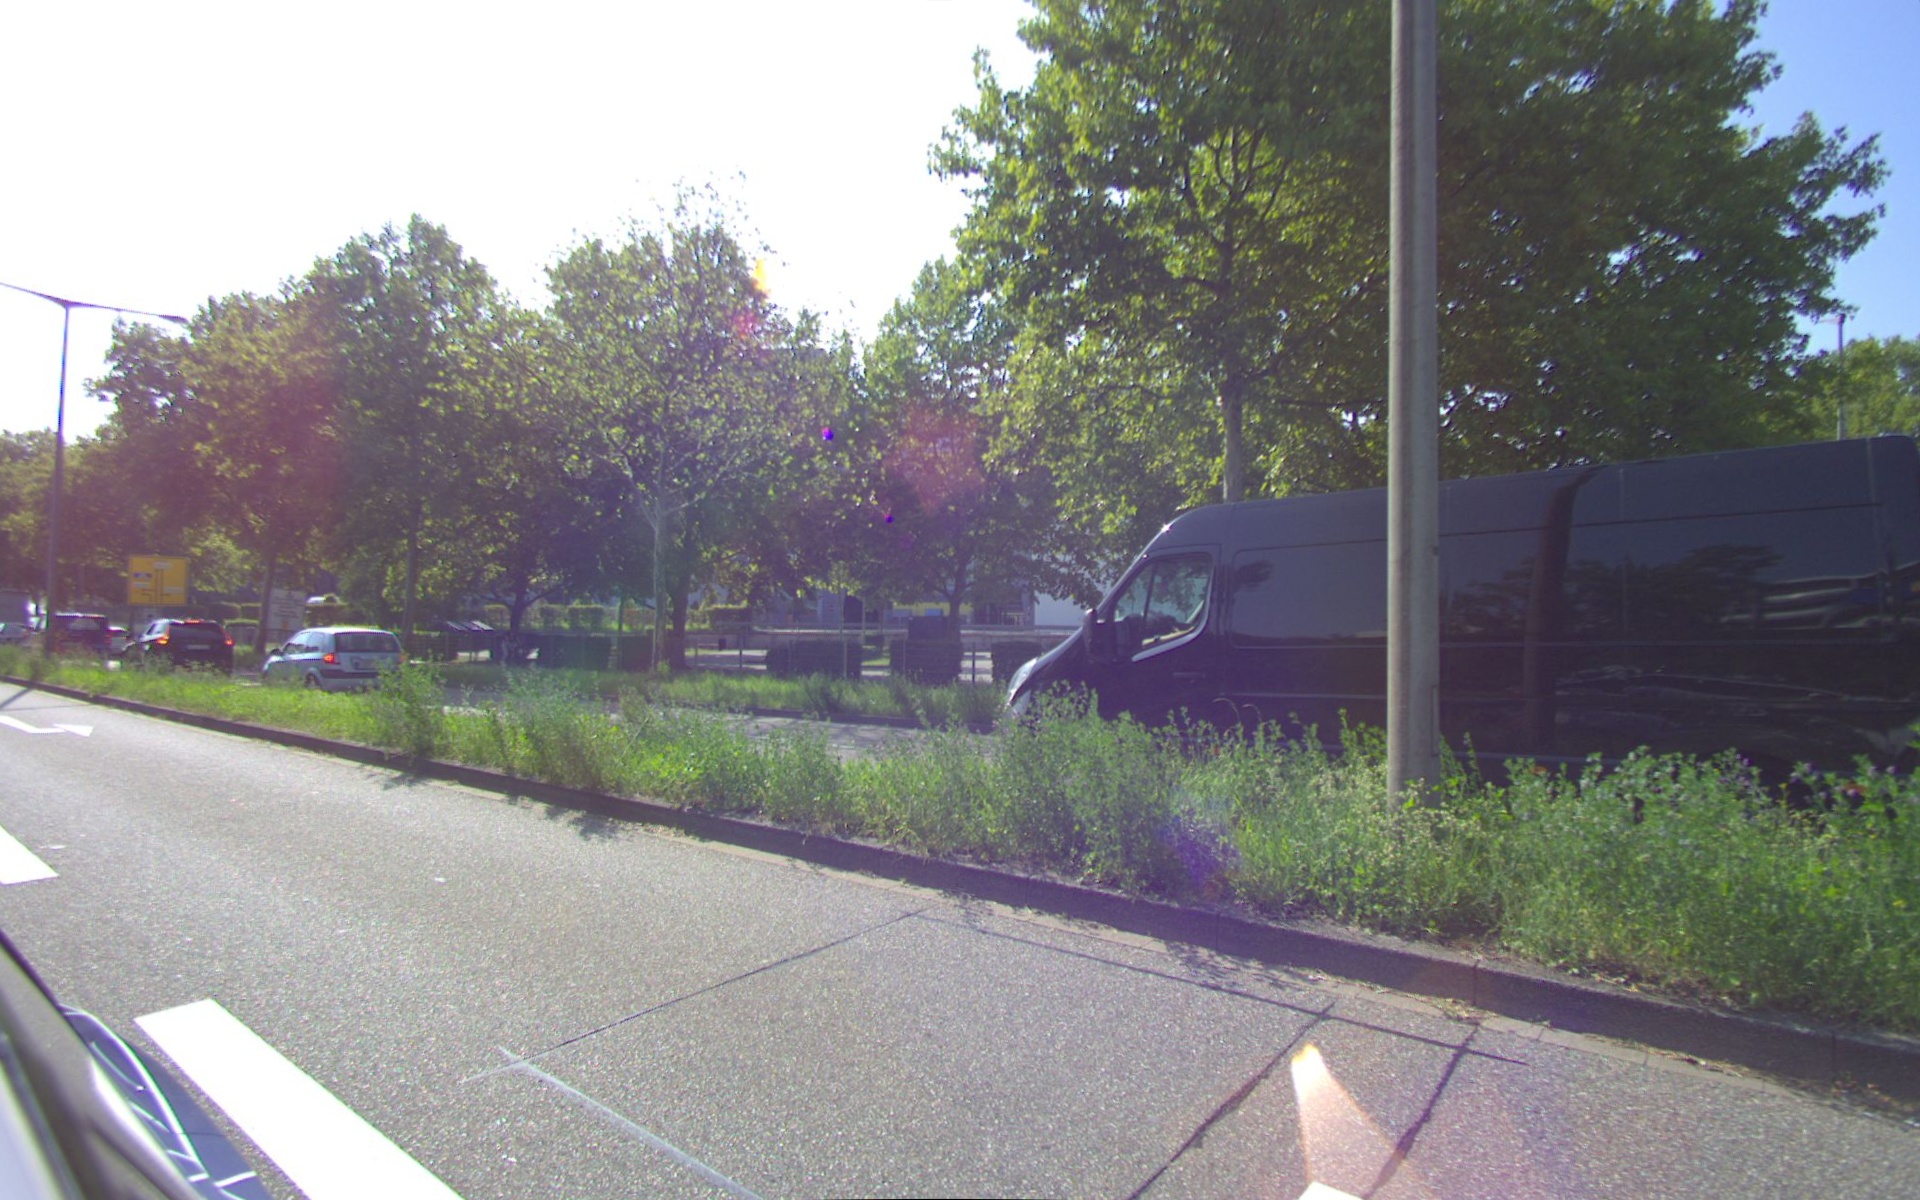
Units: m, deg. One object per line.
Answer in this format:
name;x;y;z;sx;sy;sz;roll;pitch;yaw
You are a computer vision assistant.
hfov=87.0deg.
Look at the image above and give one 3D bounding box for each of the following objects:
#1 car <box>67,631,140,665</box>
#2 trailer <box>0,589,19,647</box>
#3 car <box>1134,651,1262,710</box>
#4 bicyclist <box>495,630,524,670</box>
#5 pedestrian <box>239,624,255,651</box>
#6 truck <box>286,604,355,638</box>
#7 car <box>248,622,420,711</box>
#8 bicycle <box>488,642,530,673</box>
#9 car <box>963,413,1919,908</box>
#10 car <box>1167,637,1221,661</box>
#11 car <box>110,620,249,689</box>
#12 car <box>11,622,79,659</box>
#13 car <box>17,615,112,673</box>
car;-39.187;2.162;46.306;3.995;1.493;1.773;-1;-3;38
trailer;-70.000;1.314;71.941;13.799;3.851;2.607;-1;-4;40
car;6.164;2.010;25.961;1.817;1.320;3.951;-2;-3;36
bicyclist;-16.583;1.836;37.242;0.839;1.450;0.641;-2;-3;39
pedestrian;-46.004;2.413;65.326;0.933;1.665;0.611;-1;-2;40
truck;-55.971;1.832;88.683;2.209;2.883;5.901;0;-1;2
car;-12.512;1.253;20.150;3.997;1.586;1.755;-1;-2;40
bicycle;-16.612;2.093;37.240;1.798;1.116;0.641;-2;-3;39
car;3.103;0.344;7.357;6.276;2.350;2.091;-1;-2;39
car;14.882;3.131;64.460;3.086;1.447;1.380;0;-1;4
car;-21.320;1.425;27.595;4.498;1.719;1.974;-1;-2;38
car;-49.858;2.196;55.115;4.965;1.873;1.964;-1;-4;40
car;-33.647;1.632;37.984;4.561;2.043;1.913;-2;-3;39
